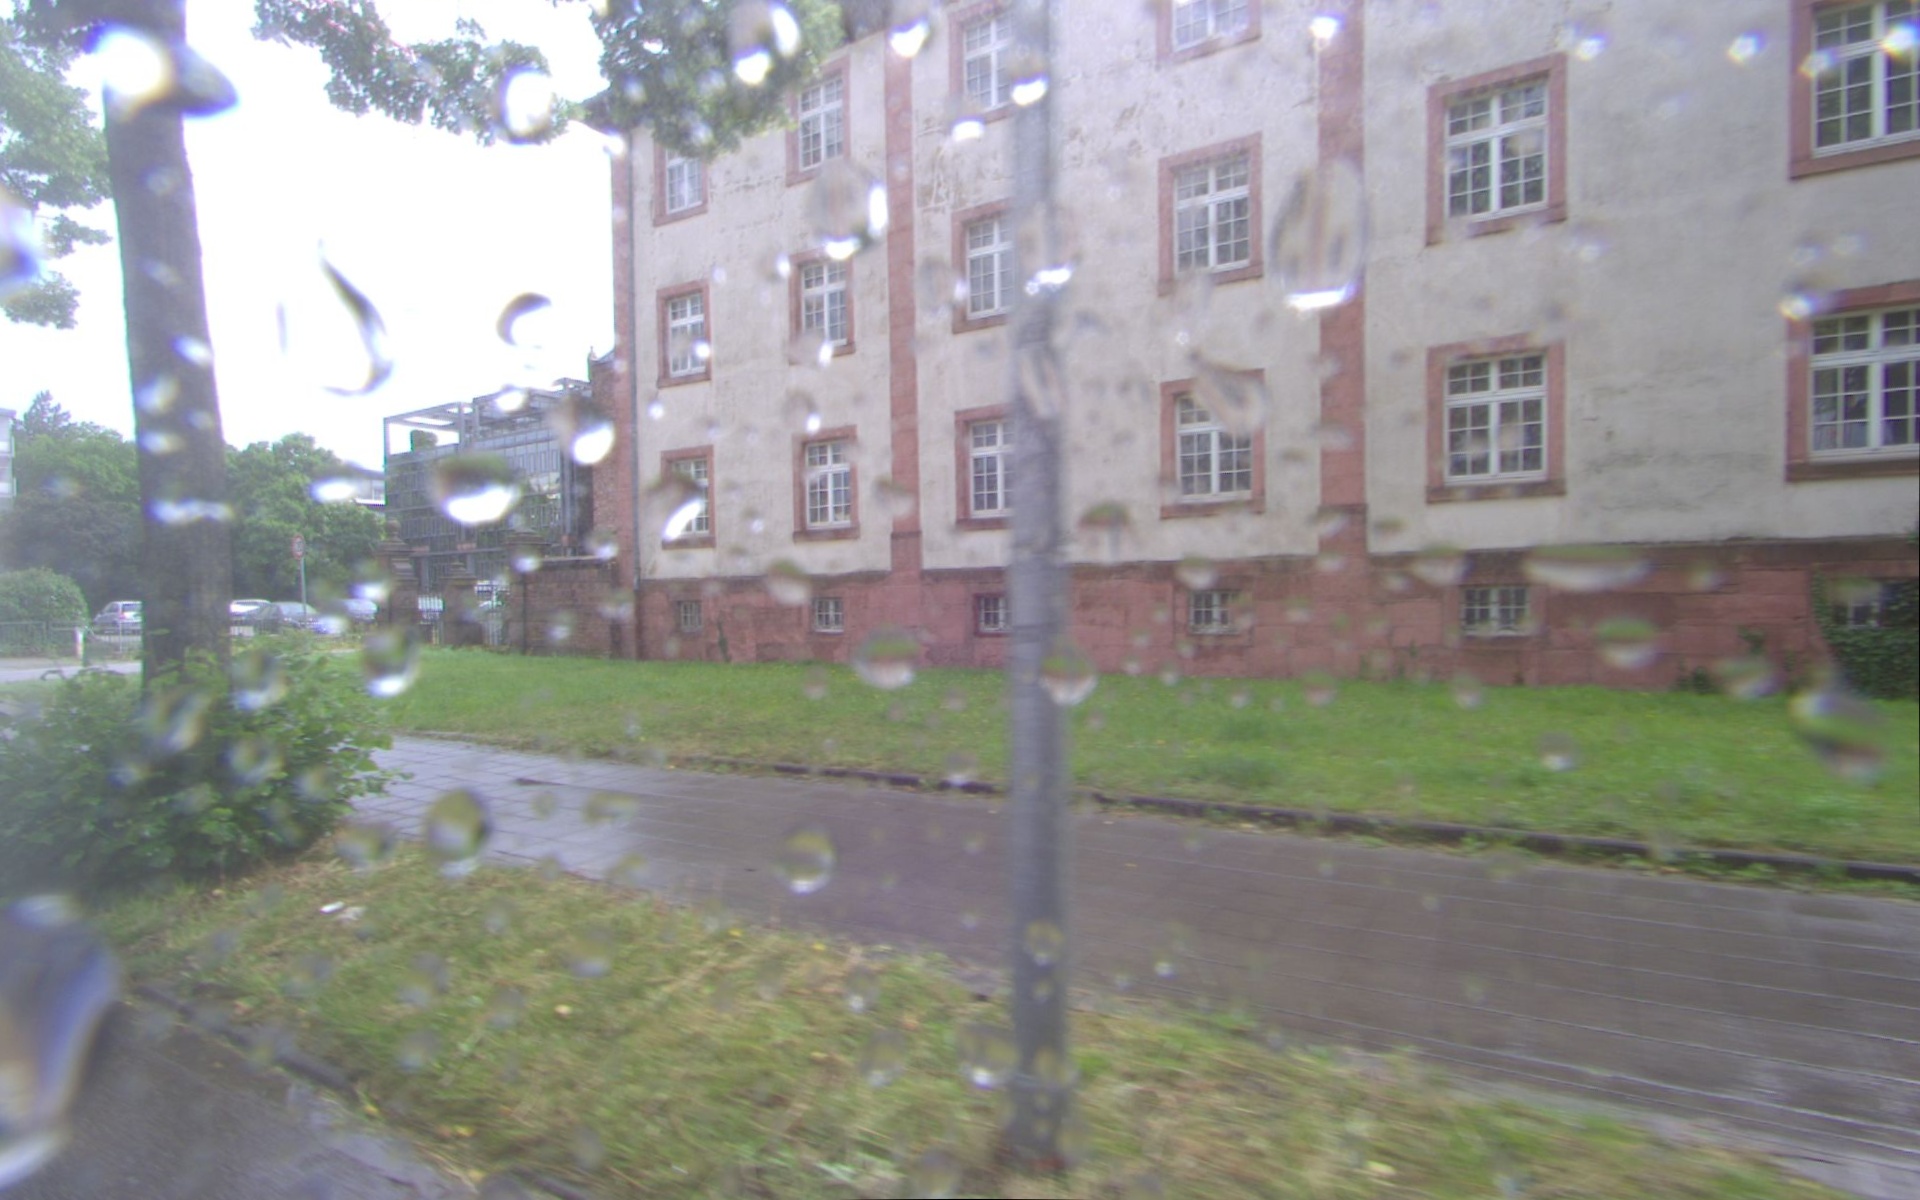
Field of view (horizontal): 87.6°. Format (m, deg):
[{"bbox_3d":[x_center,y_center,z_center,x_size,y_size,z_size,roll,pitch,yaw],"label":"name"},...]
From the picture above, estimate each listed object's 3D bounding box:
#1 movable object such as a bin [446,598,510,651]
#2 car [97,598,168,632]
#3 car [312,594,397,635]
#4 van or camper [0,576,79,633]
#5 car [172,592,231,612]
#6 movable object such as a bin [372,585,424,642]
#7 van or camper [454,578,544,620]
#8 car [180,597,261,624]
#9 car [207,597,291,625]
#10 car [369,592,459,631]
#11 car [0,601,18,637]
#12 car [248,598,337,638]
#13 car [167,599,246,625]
[{"bbox_3d":[-14.103,0.697,29.279,1.371,1.477,1.102,0,3,34],"label":"movable object such as a bin"},{"bbox_3d":[-38.717,0.674,46.835,3.669,1.506,1.643,0,1,36],"label":"car"},{"bbox_3d":[-26.979,0.614,44.566,4.368,1.702,1.845,0,1,39],"label":"car"},{"bbox_3d":[-44.075,0.241,46.022,2.145,2.588,4.985,-1,0,34],"label":"van or camper"},{"bbox_3d":[-56.284,0.164,74.325,1.489,1.416,3.214,0,1,36],"label":"car"},{"bbox_3d":[-15.239,0.359,27.155,1.082,1.477,0.797,0,3,34],"label":"movable object such as a bin"},{"bbox_3d":[-29.158,-0.023,63.473,2.226,2.518,4.778,-1,-2,32],"label":"van or camper"},{"bbox_3d":[-45.697,0.624,61.945,1.617,1.506,3.654,0,1,36],"label":"car"},{"bbox_3d":[-41.746,0.605,58.854,1.617,1.506,3.654,0,1,36],"label":"car"},{"bbox_3d":[-24.978,0.509,45.764,4.363,1.702,1.847,0,1,35],"label":"car"},{"bbox_3d":[-41.795,0.829,42.699,3.369,1.468,1.606,0,1,34],"label":"car"},{"bbox_3d":[-28.402,0.740,42.593,4.367,1.547,1.821,0,1,38],"label":"car"},{"bbox_3d":[-47.570,0.718,63.264,1.617,1.506,3.654,0,1,36],"label":"car"}]
